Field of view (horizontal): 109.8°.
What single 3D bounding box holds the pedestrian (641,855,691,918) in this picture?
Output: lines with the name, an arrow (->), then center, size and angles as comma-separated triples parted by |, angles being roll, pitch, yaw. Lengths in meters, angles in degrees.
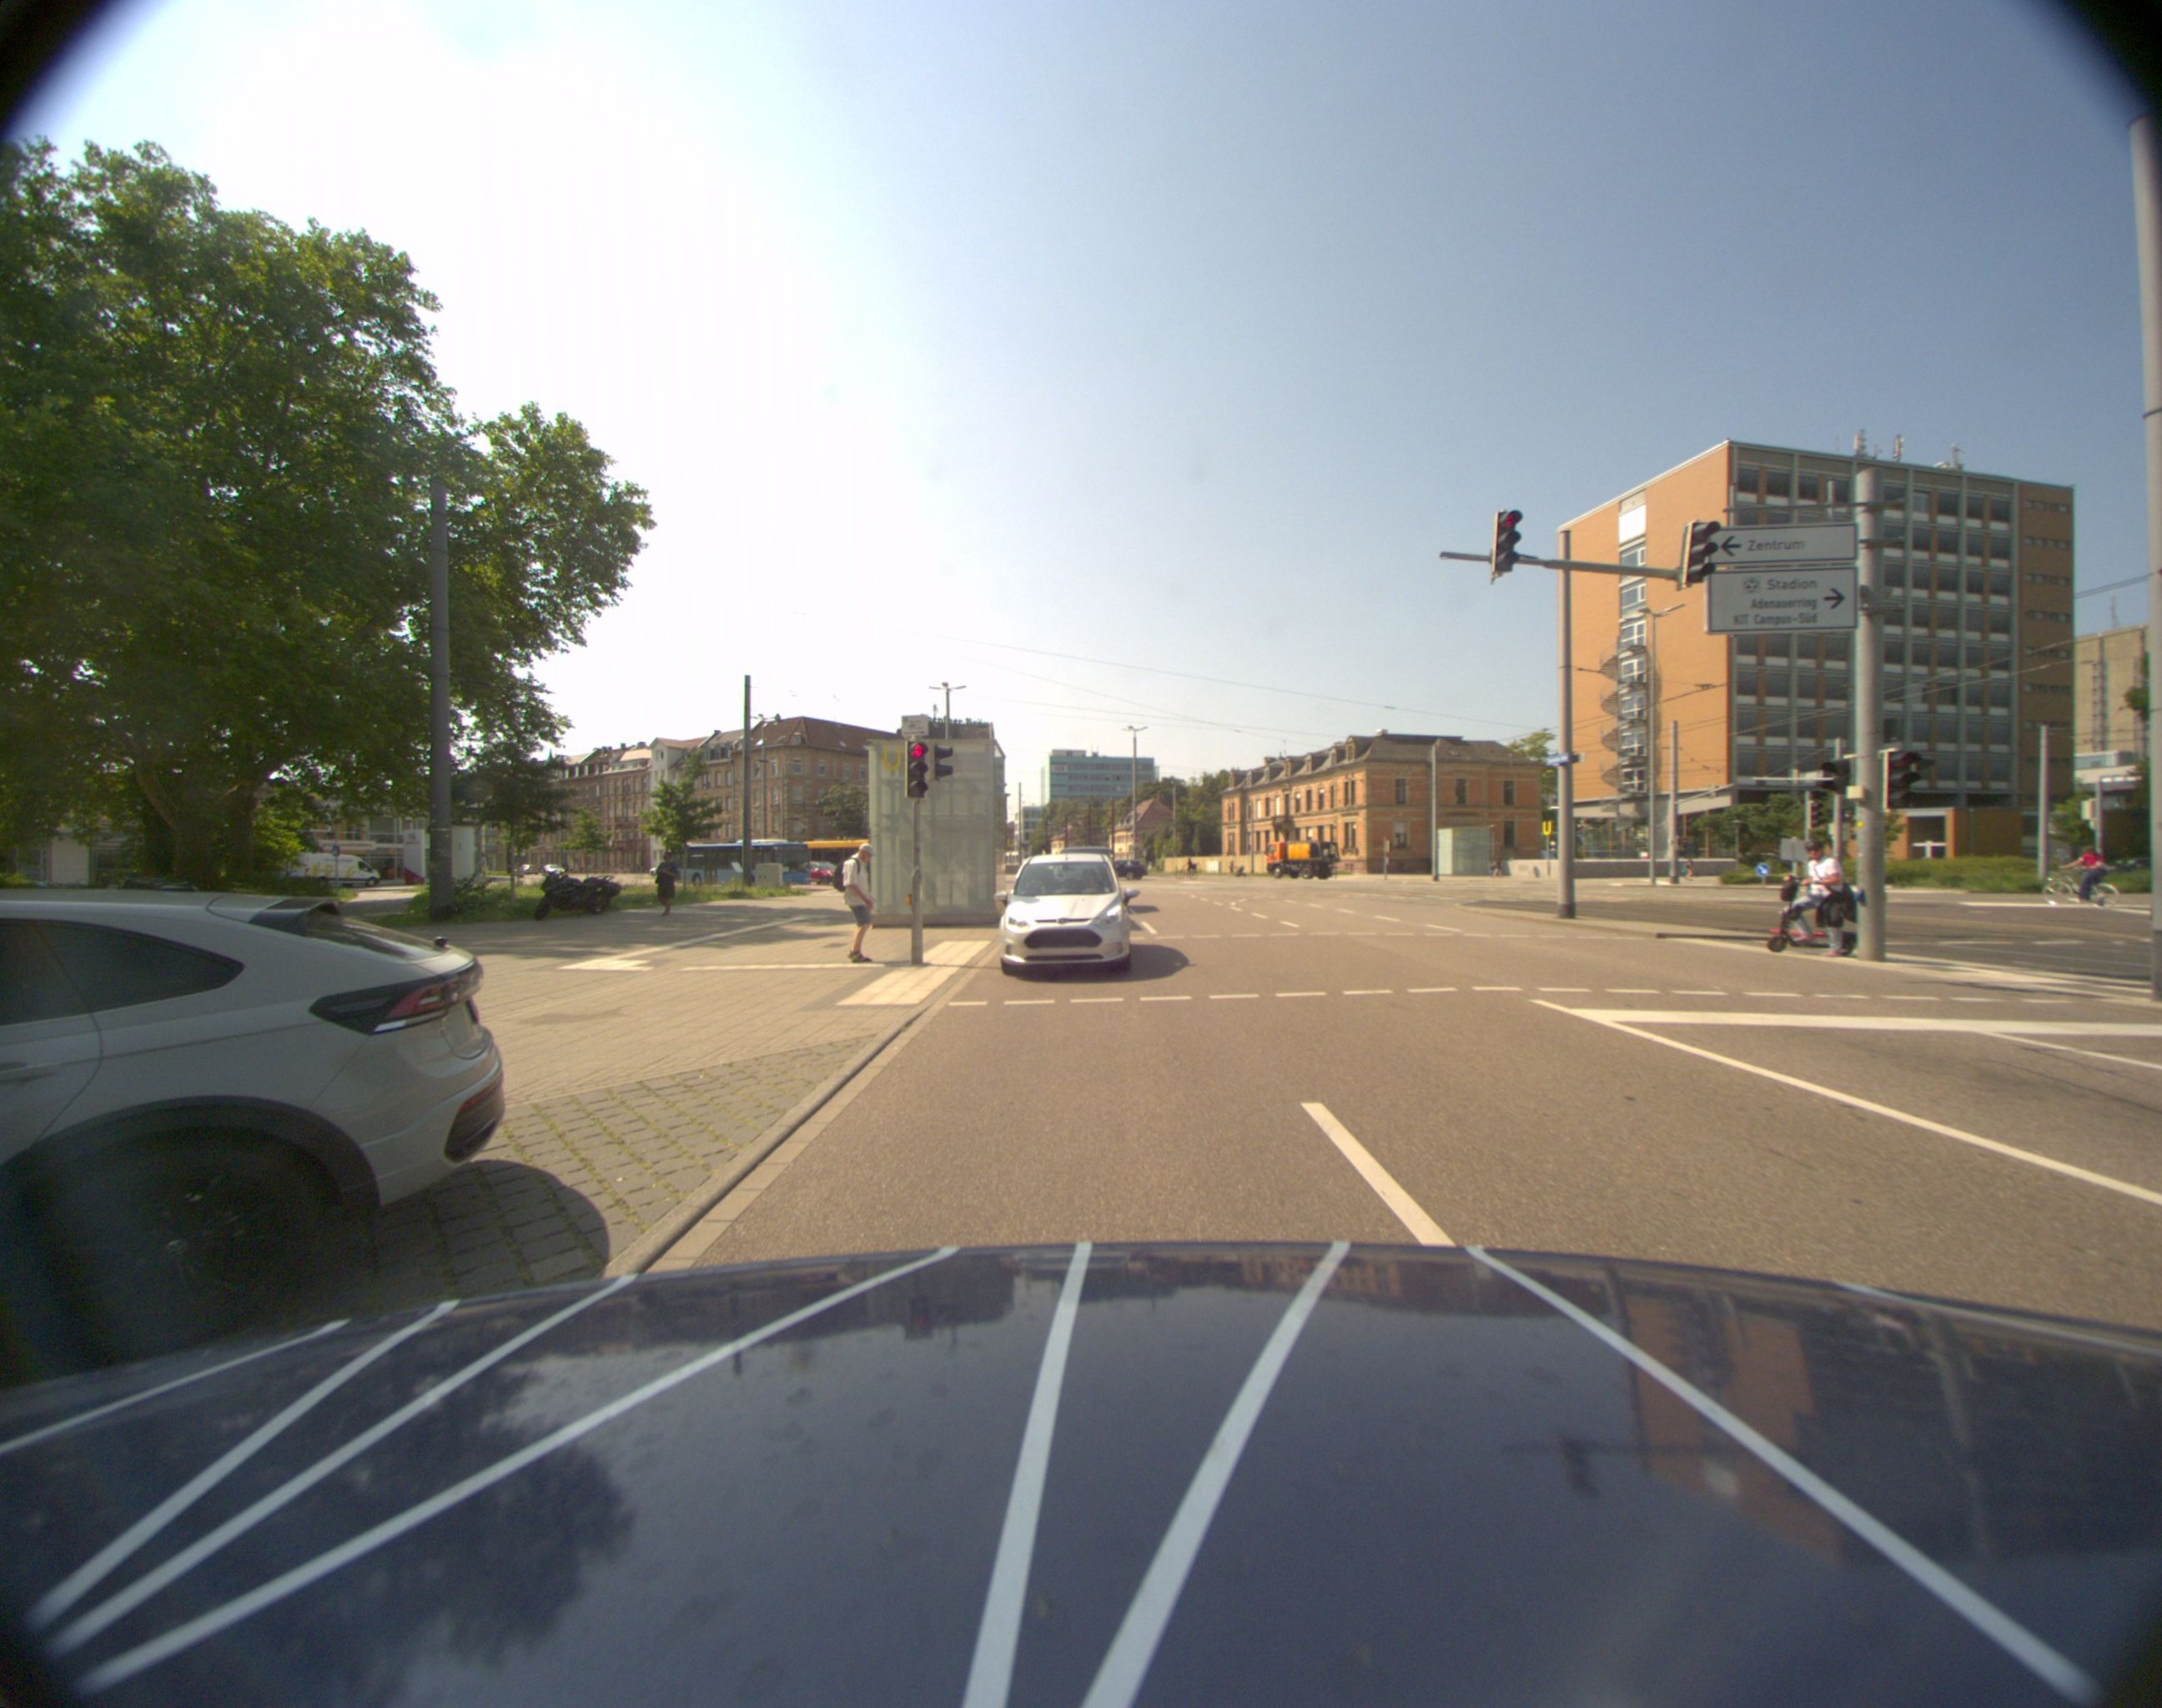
pedestrian -> -10.869, 0.846, 19.913 | 0.793, 1.600, 0.949 | 0, 1, -2

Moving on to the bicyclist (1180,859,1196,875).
bicyclist -> 8.653, 1.066, 61.556 | 1.103, 1.258, 0.858 | 0, 0, 22

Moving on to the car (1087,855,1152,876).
car -> 3.029, 0.907, 59.807 | 4.688, 1.631, 2.003 | 0, 0, 22

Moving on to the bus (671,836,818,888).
bus -> -21.958, 0.544, 49.042 | 12.047, 3.046, 2.740 | 0, 0, 34

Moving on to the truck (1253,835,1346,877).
truck -> 17.976, 0.263, 62.988 | 3.047, 3.209, 7.175 | 1, -2, -31

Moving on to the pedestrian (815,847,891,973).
pedestrian -> -3.381, 0.806, 11.332 | 0.821, 1.797, 0.814 | -2, 1, 1

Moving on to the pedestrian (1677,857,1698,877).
pedestrian -> 42.471, 0.912, 53.177 | 0.847, 1.386, 0.787 | 0, 0, 3

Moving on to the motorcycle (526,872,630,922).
motorcycle -> -12.591, 1.037, 19.110 | 0.911, 1.130, 2.114 | 0, 0, 13

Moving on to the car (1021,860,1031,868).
car -> -9.788, 1.852, 135.479 | 1.376, 1.389, 3.253 | 0, -2, -13

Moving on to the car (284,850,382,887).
car -> -54.057, 1.085, 55.071 | 1.847, 2.568, 5.219 | 0, -2, 1

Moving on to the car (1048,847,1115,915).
car -> 0.088, 0.757, 24.018 | 1.899, 1.919, 4.886 | 0, 0, 2

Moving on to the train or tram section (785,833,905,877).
train or tram section -> -20.386, 0.083, 65.187 | 12.182, 3.539, 2.601 | 0, 0, 33

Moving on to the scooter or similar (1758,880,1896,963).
scooter or similar -> 11.209, 1.004, 11.443 | 1.341, 1.142, 0.709 | 2, 0, -1

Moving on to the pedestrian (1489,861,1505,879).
pedestrian -> 32.664, 1.280, 59.689 | 0.847, 1.386, 0.787 | 0, 0, 3

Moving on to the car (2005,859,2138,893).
car -> 54.979, 1.234, 42.281 | 3.991, 1.783, 2.004 | -1, -2, 20

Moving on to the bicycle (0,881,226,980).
bicycle -> -14.521, 1.059, 11.319 | 0.794, 1.231, 2.435 | 0, 0, 1

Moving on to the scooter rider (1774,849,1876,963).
scooter rider -> 11.217, 0.764, 11.485 | 0.773, 1.663, 0.779 | 0, 0, -3

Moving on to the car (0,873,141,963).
car -> -18.782, 1.106, 12.264 | 1.905, 1.461, 4.246 | -2, 0, -1

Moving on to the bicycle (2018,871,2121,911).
bicycle -> 28.812, 1.065, 22.200 | 0.614, 1.063, 1.914 | 0, 0, 5

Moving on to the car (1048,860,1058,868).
car -> -7.076, 2.422, 190.451 | 2.000, 1.892, 3.998 | 0, -2, -8

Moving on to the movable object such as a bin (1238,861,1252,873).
movable object such as a bin -> 15.292, 1.188, 70.967 | 1.035, 1.078, 0.822 | -2, -2, 42

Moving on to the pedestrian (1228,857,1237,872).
pedestrian -> 14.250, 0.983, 71.444 | 0.815, 1.343, 0.720 | 0, 0, 8

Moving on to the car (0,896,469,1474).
car -> -4.231, 0.992, 2.164 | 3.792, 1.491, 1.802 | -2, 0, -40

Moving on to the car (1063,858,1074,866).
car -> -2.893, 1.794, 172.817 | 2.000, 1.673, 3.998 | 0, -2, -8

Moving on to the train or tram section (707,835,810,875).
train or tram section -> -30.612, 0.115, 71.772 | 12.182, 3.539, 2.601 | 0, 0, 33

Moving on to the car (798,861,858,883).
car -> -17.404, 1.212, 52.255 | 3.763, 1.463, 1.632 | 0, 0, 22

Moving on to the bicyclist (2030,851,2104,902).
bicyclist -> 28.815, 0.643, 22.224 | 0.877, 1.451, 0.980 | 0, 0, 4

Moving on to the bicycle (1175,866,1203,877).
bicycle -> 8.758, 1.437, 61.449 | 2.165, 0.893, 0.643 | 0, 0, 24

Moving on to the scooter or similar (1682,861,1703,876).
scooter or similar -> 45.720, 1.074, 56.786 | 1.143, 1.150, 0.444 | 0, 0, 15

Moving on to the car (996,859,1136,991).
car -> -0.188, 0.876, 11.440 | 1.692, 1.585, 4.361 | 0, 0, 0
